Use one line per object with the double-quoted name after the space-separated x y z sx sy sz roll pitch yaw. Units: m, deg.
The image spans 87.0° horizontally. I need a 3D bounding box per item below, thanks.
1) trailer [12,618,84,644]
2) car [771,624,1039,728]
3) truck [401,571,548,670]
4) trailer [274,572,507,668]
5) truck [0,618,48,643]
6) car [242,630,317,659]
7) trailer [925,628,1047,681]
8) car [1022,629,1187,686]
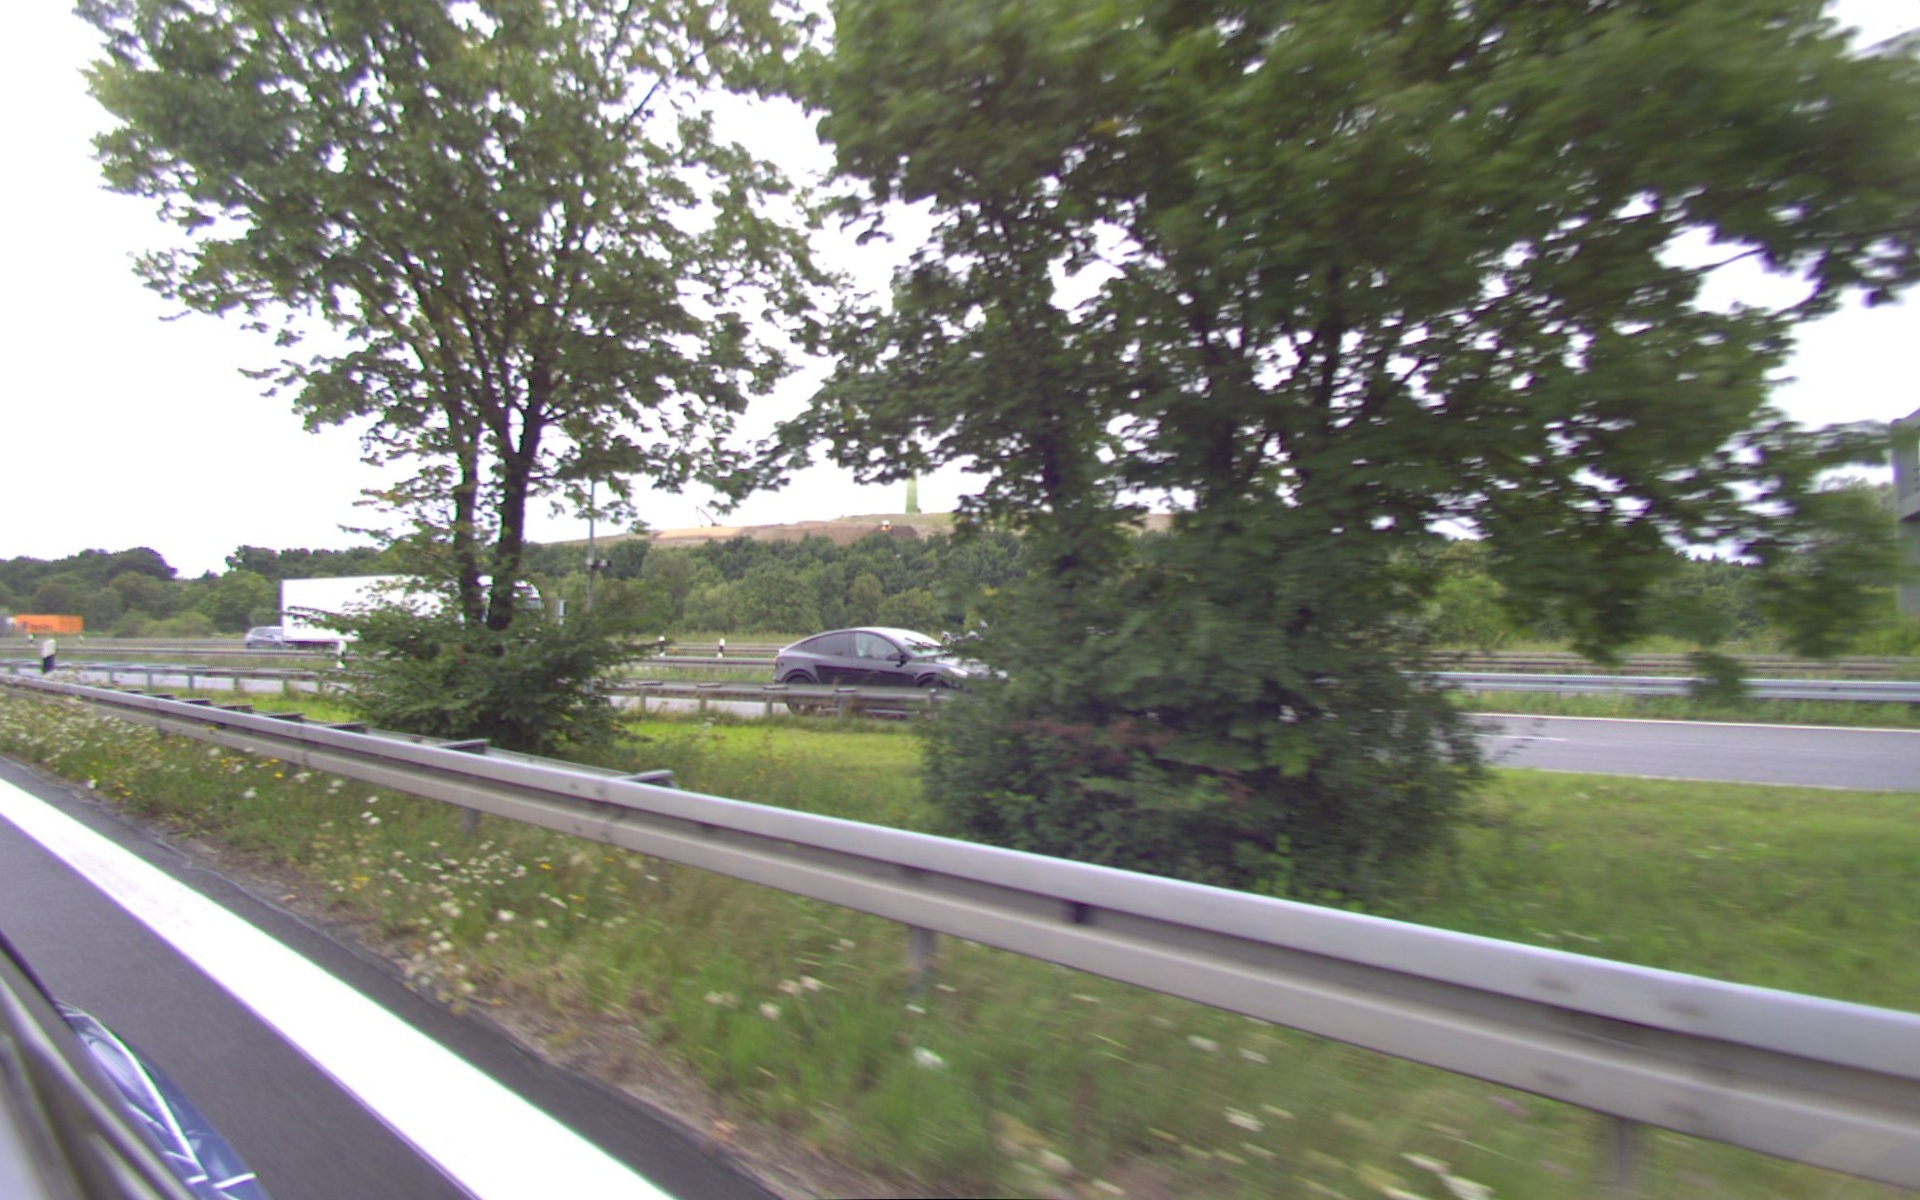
-115.982 3.876 128.596 12.507 3.097 2.668 -1 -1 28 "trailer"
-1.027 1.283 18.333 4.534 1.650 1.948 -1 -1 29 "car"
-21.746 0.939 45.293 6.415 4.167 2.748 -1 -2 28 "truck"
-27.448 0.998 48.387 13.887 4.167 2.748 -1 -2 28 "trailer"
-121.842 3.936 131.717 6.424 3.097 2.668 -1 -1 28 "truck"
-41.283 2.679 61.355 4.463 1.663 1.887 -1 -2 28 "car"
0.857 1.771 33.597 3.594 1.638 1.870 -1 -1 29 "trailer"
4.495 1.733 31.610 4.785 1.638 1.870 -1 -1 29 "car"
